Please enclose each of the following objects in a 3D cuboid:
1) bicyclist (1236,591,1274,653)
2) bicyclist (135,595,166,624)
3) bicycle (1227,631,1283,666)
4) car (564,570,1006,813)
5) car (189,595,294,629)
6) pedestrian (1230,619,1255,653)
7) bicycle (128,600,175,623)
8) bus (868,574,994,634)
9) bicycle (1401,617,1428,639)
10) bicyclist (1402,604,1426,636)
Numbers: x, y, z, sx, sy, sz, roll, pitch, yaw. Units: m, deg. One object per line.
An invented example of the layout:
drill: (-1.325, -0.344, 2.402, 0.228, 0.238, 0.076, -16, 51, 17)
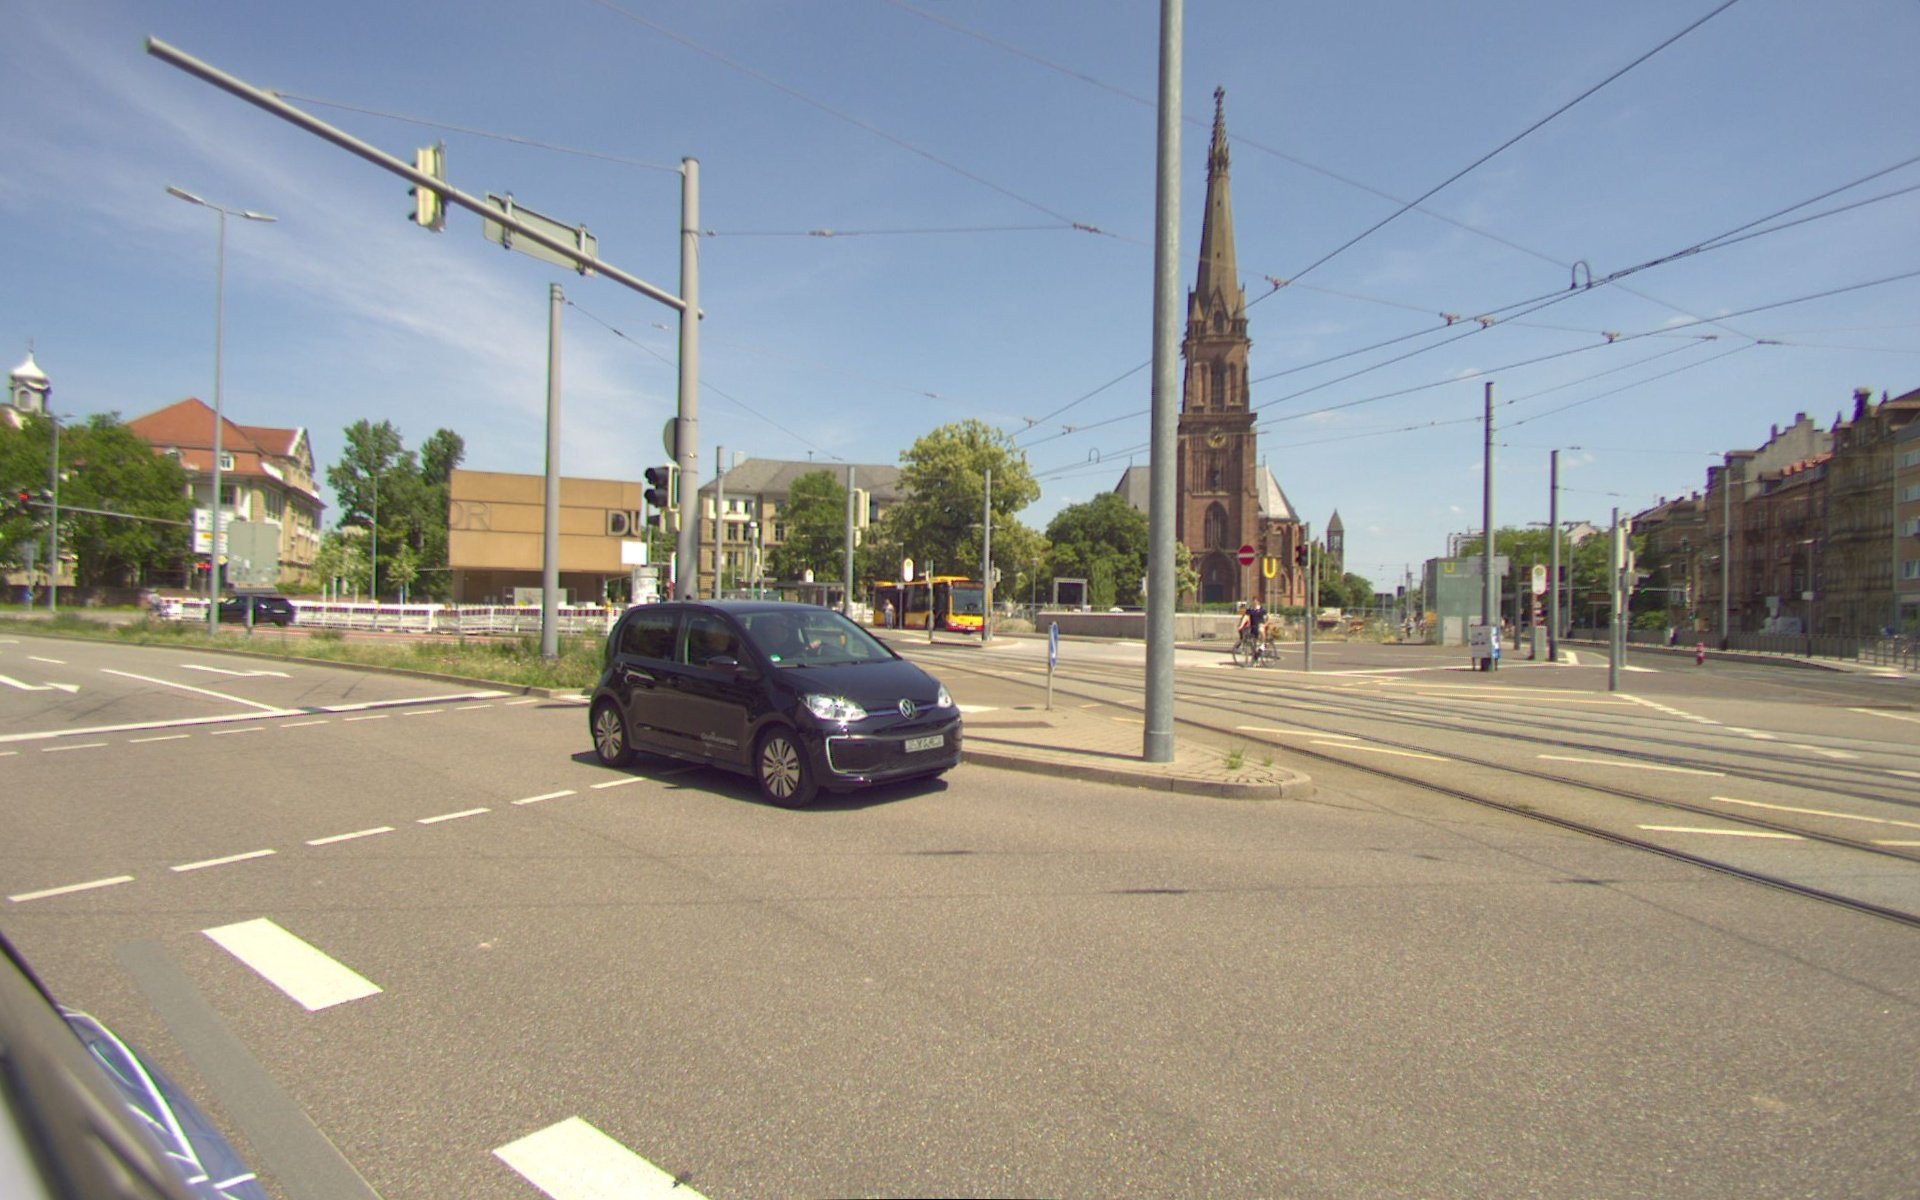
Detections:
bicyclist: (7.636, 0.543, 26.150, 0.438, 1.541, 1.236, 1, 2, 42)
bicyclist: (-39.273, 0.445, 49.087, 1.431, 1.366, 0.582, 1, 1, 24)
bicycle: (7.629, 1.232, 26.137, 0.628, 0.861, 1.873, 0, -1, 42)
car: (-1.600, 0.613, 8.511, 3.737, 1.588, 1.725, 0, -1, 42)
car: (-33.632, 0.551, 47.357, 4.821, 1.476, 1.982, 0, -1, 27)
pedestrian: (11.462, 1.440, 41.061, 0.518, 1.344, 1.001, 1, -1, -19)
bicycle: (-39.268, 0.549, 49.167, 2.218, 1.080, 0.872, 1, 1, 24)
bus: (-1.966, 0.276, 57.770, 2.807, 3.039, 12.261, 1, -1, -23)
bicycle: (36.455, 2.235, 81.177, 1.539, 1.521, 4.348, 1, 1, 30)
bicyclist: (36.400, 1.576, 81.112, 1.539, 2.436, 2.008, 1, 1, 30)
